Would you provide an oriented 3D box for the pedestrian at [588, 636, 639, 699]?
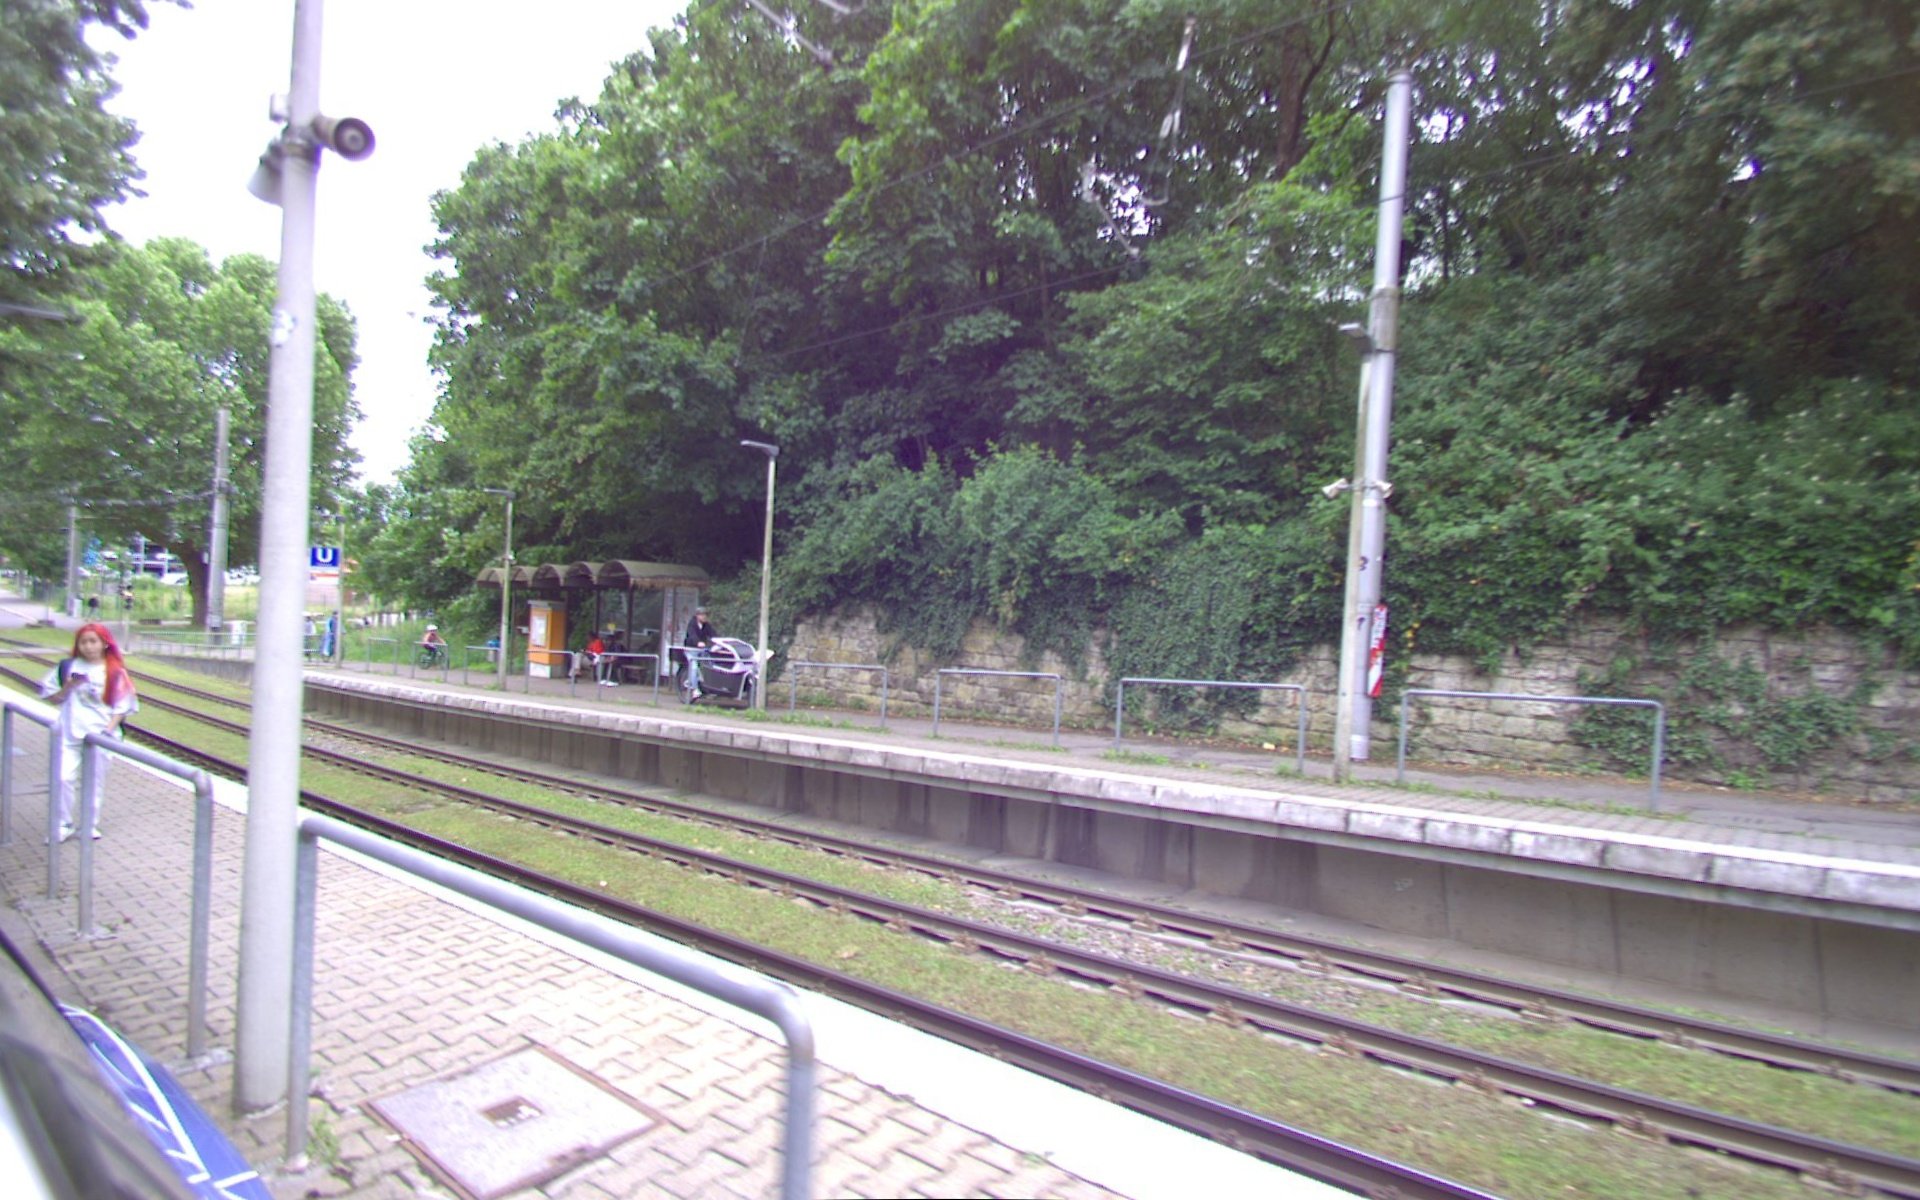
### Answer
[{"bbox_3d":[-8.039,1.547,23.505,0.772,1.385,0.813,0,-1,35],"label":"pedestrian"}]

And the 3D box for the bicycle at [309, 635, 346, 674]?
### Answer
[{"bbox_3d":[-19.944,1.721,31.904,1.939,1.197,0.458,-2,-3,41],"label":"bicycle"}]

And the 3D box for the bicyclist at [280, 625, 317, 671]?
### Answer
[{"bbox_3d":[-21.227,1.530,32.472,0.906,1.442,0.738,-3,-3,35],"label":"bicyclist"}]

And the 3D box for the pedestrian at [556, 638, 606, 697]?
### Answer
[{"bbox_3d":[-9.010,1.586,24.081,0.772,1.333,0.813,0,-1,35],"label":"pedestrian"}]

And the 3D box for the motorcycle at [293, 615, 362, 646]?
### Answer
[{"bbox_3d":[-33.198,1.562,53.204,1.247,1.564,3.046,0,-1,14],"label":"motorcycle"}]

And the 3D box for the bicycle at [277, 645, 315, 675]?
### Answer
[{"bbox_3d":[-21.413,1.944,32.633,1.842,0.932,0.473,-3,-3,38],"label":"bicycle"}]

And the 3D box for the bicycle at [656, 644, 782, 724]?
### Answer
[{"bbox_3d":[-4.265,1.419,17.726,2.868,1.249,0.742,-2,-2,45],"label":"bicycle"}]

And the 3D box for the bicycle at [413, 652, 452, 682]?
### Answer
[{"bbox_3d":[-14.686,1.860,28.156,1.564,0.787,0.445,-2,-2,42],"label":"bicycle"}]

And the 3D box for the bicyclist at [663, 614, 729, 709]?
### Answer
[{"bbox_3d":[-4.733,1.088,18.146,1.033,1.641,0.696,-2,-2,44],"label":"bicyclist"}]

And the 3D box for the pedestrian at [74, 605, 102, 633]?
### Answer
[{"bbox_3d":[-54.715,1.187,63.506,1.100,1.747,0.696,1,-1,-12],"label":"pedestrian"}]

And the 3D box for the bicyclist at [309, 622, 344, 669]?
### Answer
[{"bbox_3d":[-19.983,1.422,31.932,0.839,1.454,0.722,-2,-3,40],"label":"bicyclist"}]

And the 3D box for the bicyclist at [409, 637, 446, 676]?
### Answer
[{"bbox_3d":[-14.817,1.555,28.175,0.744,1.061,0.682,-2,-3,41],"label":"bicyclist"}]

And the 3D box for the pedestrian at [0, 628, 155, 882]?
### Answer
[{"bbox_3d":[-5.720,0.948,6.564,0.738,1.514,0.619,-2,-2,38],"label":"pedestrian"}]

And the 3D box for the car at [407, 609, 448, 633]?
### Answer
[{"bbox_3d":[-39.185,1.523,74.545,1.966,1.696,4.012,1,-1,-17],"label":"car"}]
